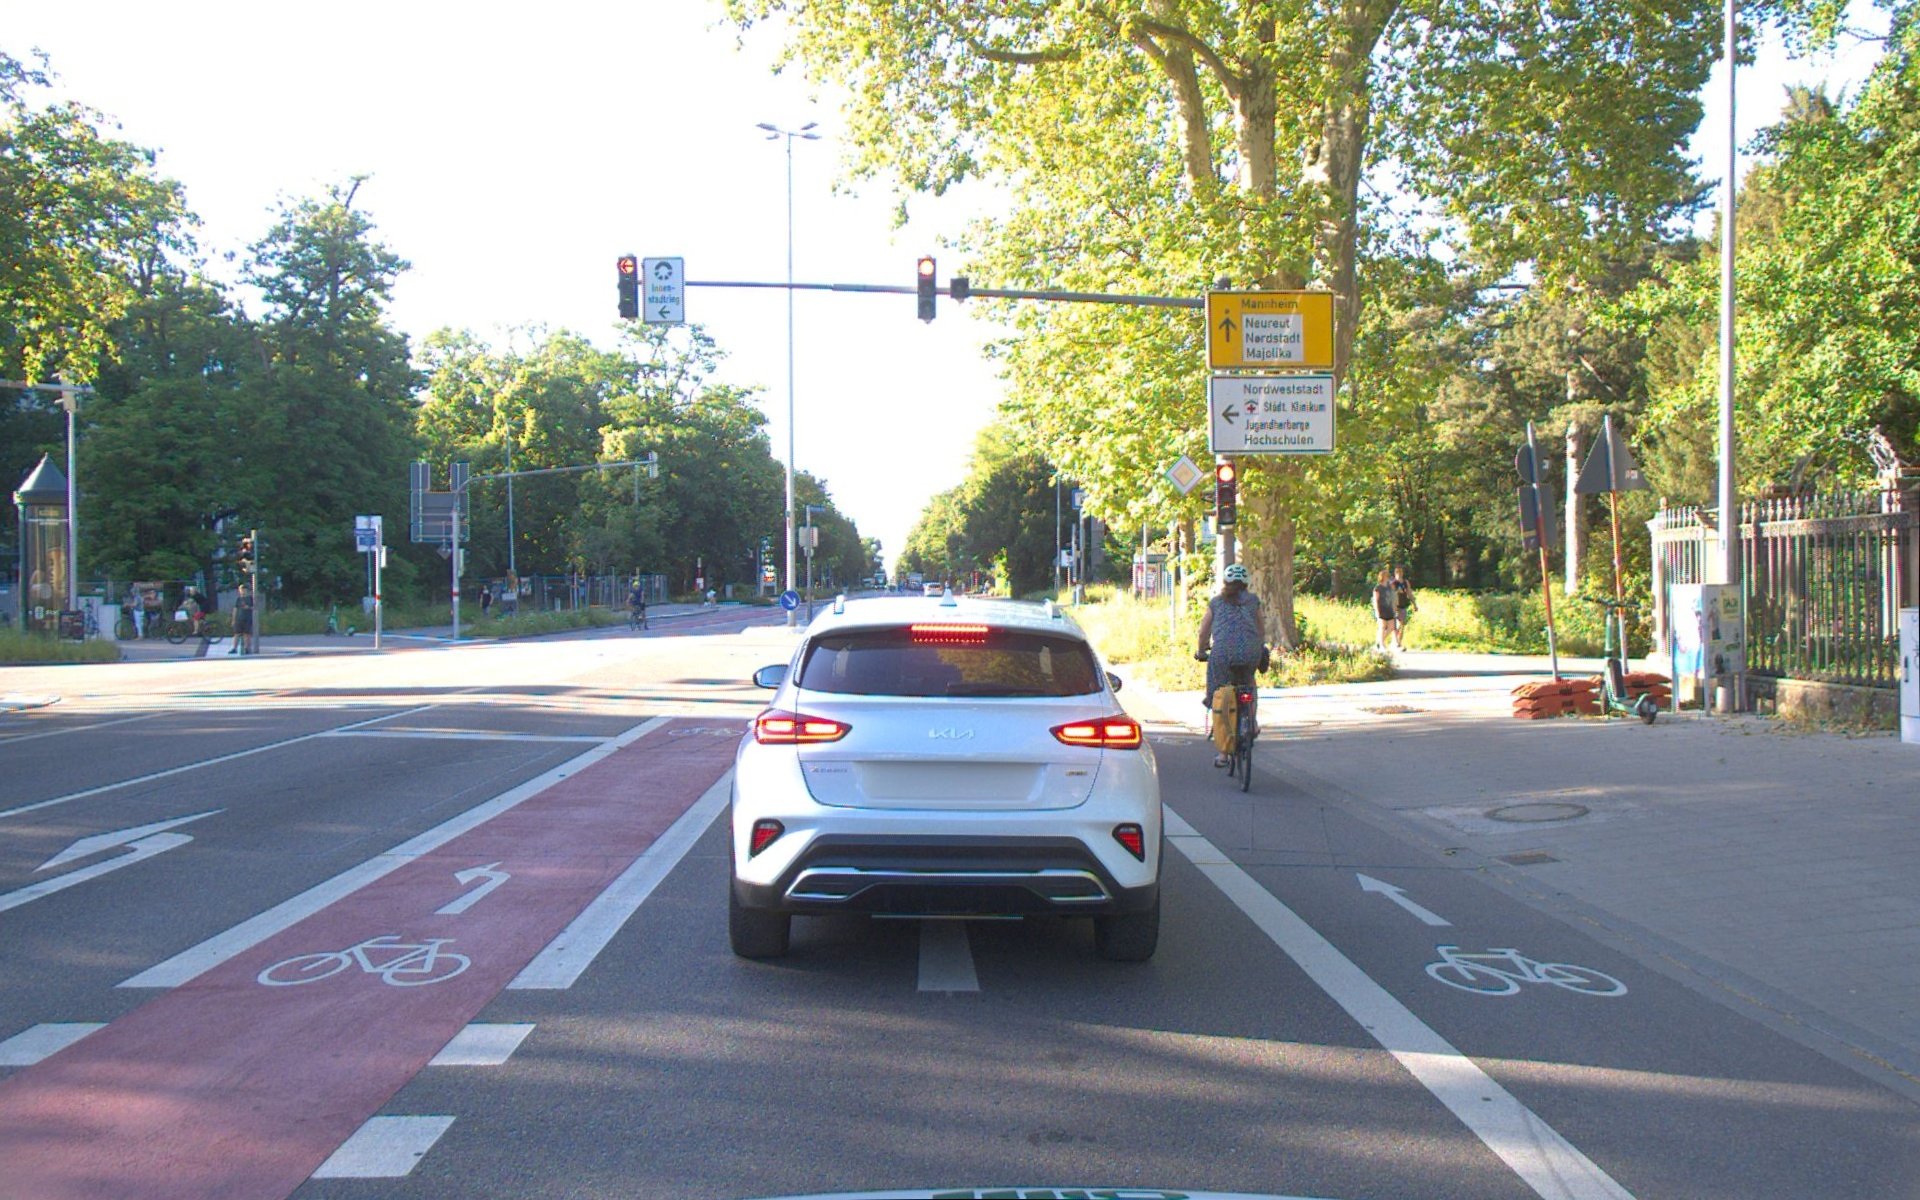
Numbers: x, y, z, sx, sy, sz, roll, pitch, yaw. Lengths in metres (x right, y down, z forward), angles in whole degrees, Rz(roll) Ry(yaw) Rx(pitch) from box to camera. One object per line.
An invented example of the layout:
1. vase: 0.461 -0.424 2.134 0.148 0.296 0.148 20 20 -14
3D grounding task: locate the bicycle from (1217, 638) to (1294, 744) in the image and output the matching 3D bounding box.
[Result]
1. bicycle: 3.004 0.910 16.909 0.393 0.973 1.550 -3 0 -2

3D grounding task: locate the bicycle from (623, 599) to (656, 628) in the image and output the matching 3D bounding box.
1. bicycle: -11.808 0.498 60.942 0.650 1.006 2.504 -1 1 1

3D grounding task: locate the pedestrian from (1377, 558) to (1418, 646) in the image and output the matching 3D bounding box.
1. pedestrian: 9.087 0.040 34.351 0.604 1.802 0.646 -1 0 -8

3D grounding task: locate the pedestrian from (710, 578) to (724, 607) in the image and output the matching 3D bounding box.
1. pedestrian: -15.487 -0.475 105.253 0.769 1.817 0.751 0 0 0

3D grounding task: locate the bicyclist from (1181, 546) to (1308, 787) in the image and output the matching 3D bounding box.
1. bicyclist: 2.250 0.502 13.218 0.738 1.827 1.164 1 0 -2

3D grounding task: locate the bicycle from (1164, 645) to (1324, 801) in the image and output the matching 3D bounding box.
1. bicycle: 2.236 0.936 13.374 0.742 1.031 2.568 1 1 -2

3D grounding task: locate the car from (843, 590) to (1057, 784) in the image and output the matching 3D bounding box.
1. car: -0.152 0.690 15.072 1.694 1.509 3.515 -1 1 -3

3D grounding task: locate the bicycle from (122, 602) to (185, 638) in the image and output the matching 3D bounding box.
1. bicycle: -26.195 0.648 53.744 1.826 1.168 0.290 0 0 -8

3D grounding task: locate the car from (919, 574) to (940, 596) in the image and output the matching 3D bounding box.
1. car: -2.886 -1.409 158.816 1.953 2.049 3.999 -1 1 -1

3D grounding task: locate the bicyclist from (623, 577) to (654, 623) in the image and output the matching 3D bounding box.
1. bicyclist: -11.819 -0.004 60.855 0.857 1.636 1.188 -1 0 1

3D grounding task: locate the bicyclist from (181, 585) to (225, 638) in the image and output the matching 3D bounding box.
1. bicyclist: -23.681 0.355 51.748 0.954 1.634 0.878 -1 0 0

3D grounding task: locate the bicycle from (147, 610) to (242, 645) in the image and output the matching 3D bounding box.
1. bicycle: -23.935 0.861 51.747 2.650 1.006 0.581 -1 0 -1

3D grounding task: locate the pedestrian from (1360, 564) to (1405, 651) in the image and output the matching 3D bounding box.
1. pedestrian: 8.602 0.147 33.712 0.676 1.729 0.643 -1 0 -7

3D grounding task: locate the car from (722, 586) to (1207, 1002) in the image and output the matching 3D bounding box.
1. car: -0.052 0.692 8.048 1.785 1.506 3.935 0 1 -2

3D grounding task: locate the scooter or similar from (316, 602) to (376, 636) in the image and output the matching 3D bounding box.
1. scooter or similar: -20.853 0.643 56.197 0.697 1.144 1.916 0 0 32

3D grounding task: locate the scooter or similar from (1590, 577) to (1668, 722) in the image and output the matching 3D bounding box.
1. scooter or similar: 6.478 0.459 16.055 0.223 1.350 1.171 -1 0 -2

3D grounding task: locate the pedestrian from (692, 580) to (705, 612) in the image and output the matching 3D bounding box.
1. pedestrian: -16.576 -0.243 104.912 0.627 2.049 0.754 0 0 10

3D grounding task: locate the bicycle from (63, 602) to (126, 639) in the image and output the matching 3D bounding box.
1. bicycle: -28.265 0.672 54.013 1.822 1.168 0.443 0 0 3

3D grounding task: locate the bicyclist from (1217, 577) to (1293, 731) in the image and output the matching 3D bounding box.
1. bicyclist: 2.984 0.535 16.784 0.543 1.504 0.716 -3 0 -2

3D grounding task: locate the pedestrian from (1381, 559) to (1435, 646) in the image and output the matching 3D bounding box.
1. pedestrian: 9.437 0.048 34.841 0.802 1.802 0.831 -1 0 -8

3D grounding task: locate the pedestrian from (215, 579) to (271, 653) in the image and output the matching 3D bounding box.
1. pedestrian: -20.369 0.447 47.012 0.974 2.049 1.191 0 0 4

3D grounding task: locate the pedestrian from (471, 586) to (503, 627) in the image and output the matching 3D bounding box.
1. pedestrian: -19.020 0.260 66.581 1.067 1.631 0.999 -1 0 -7
